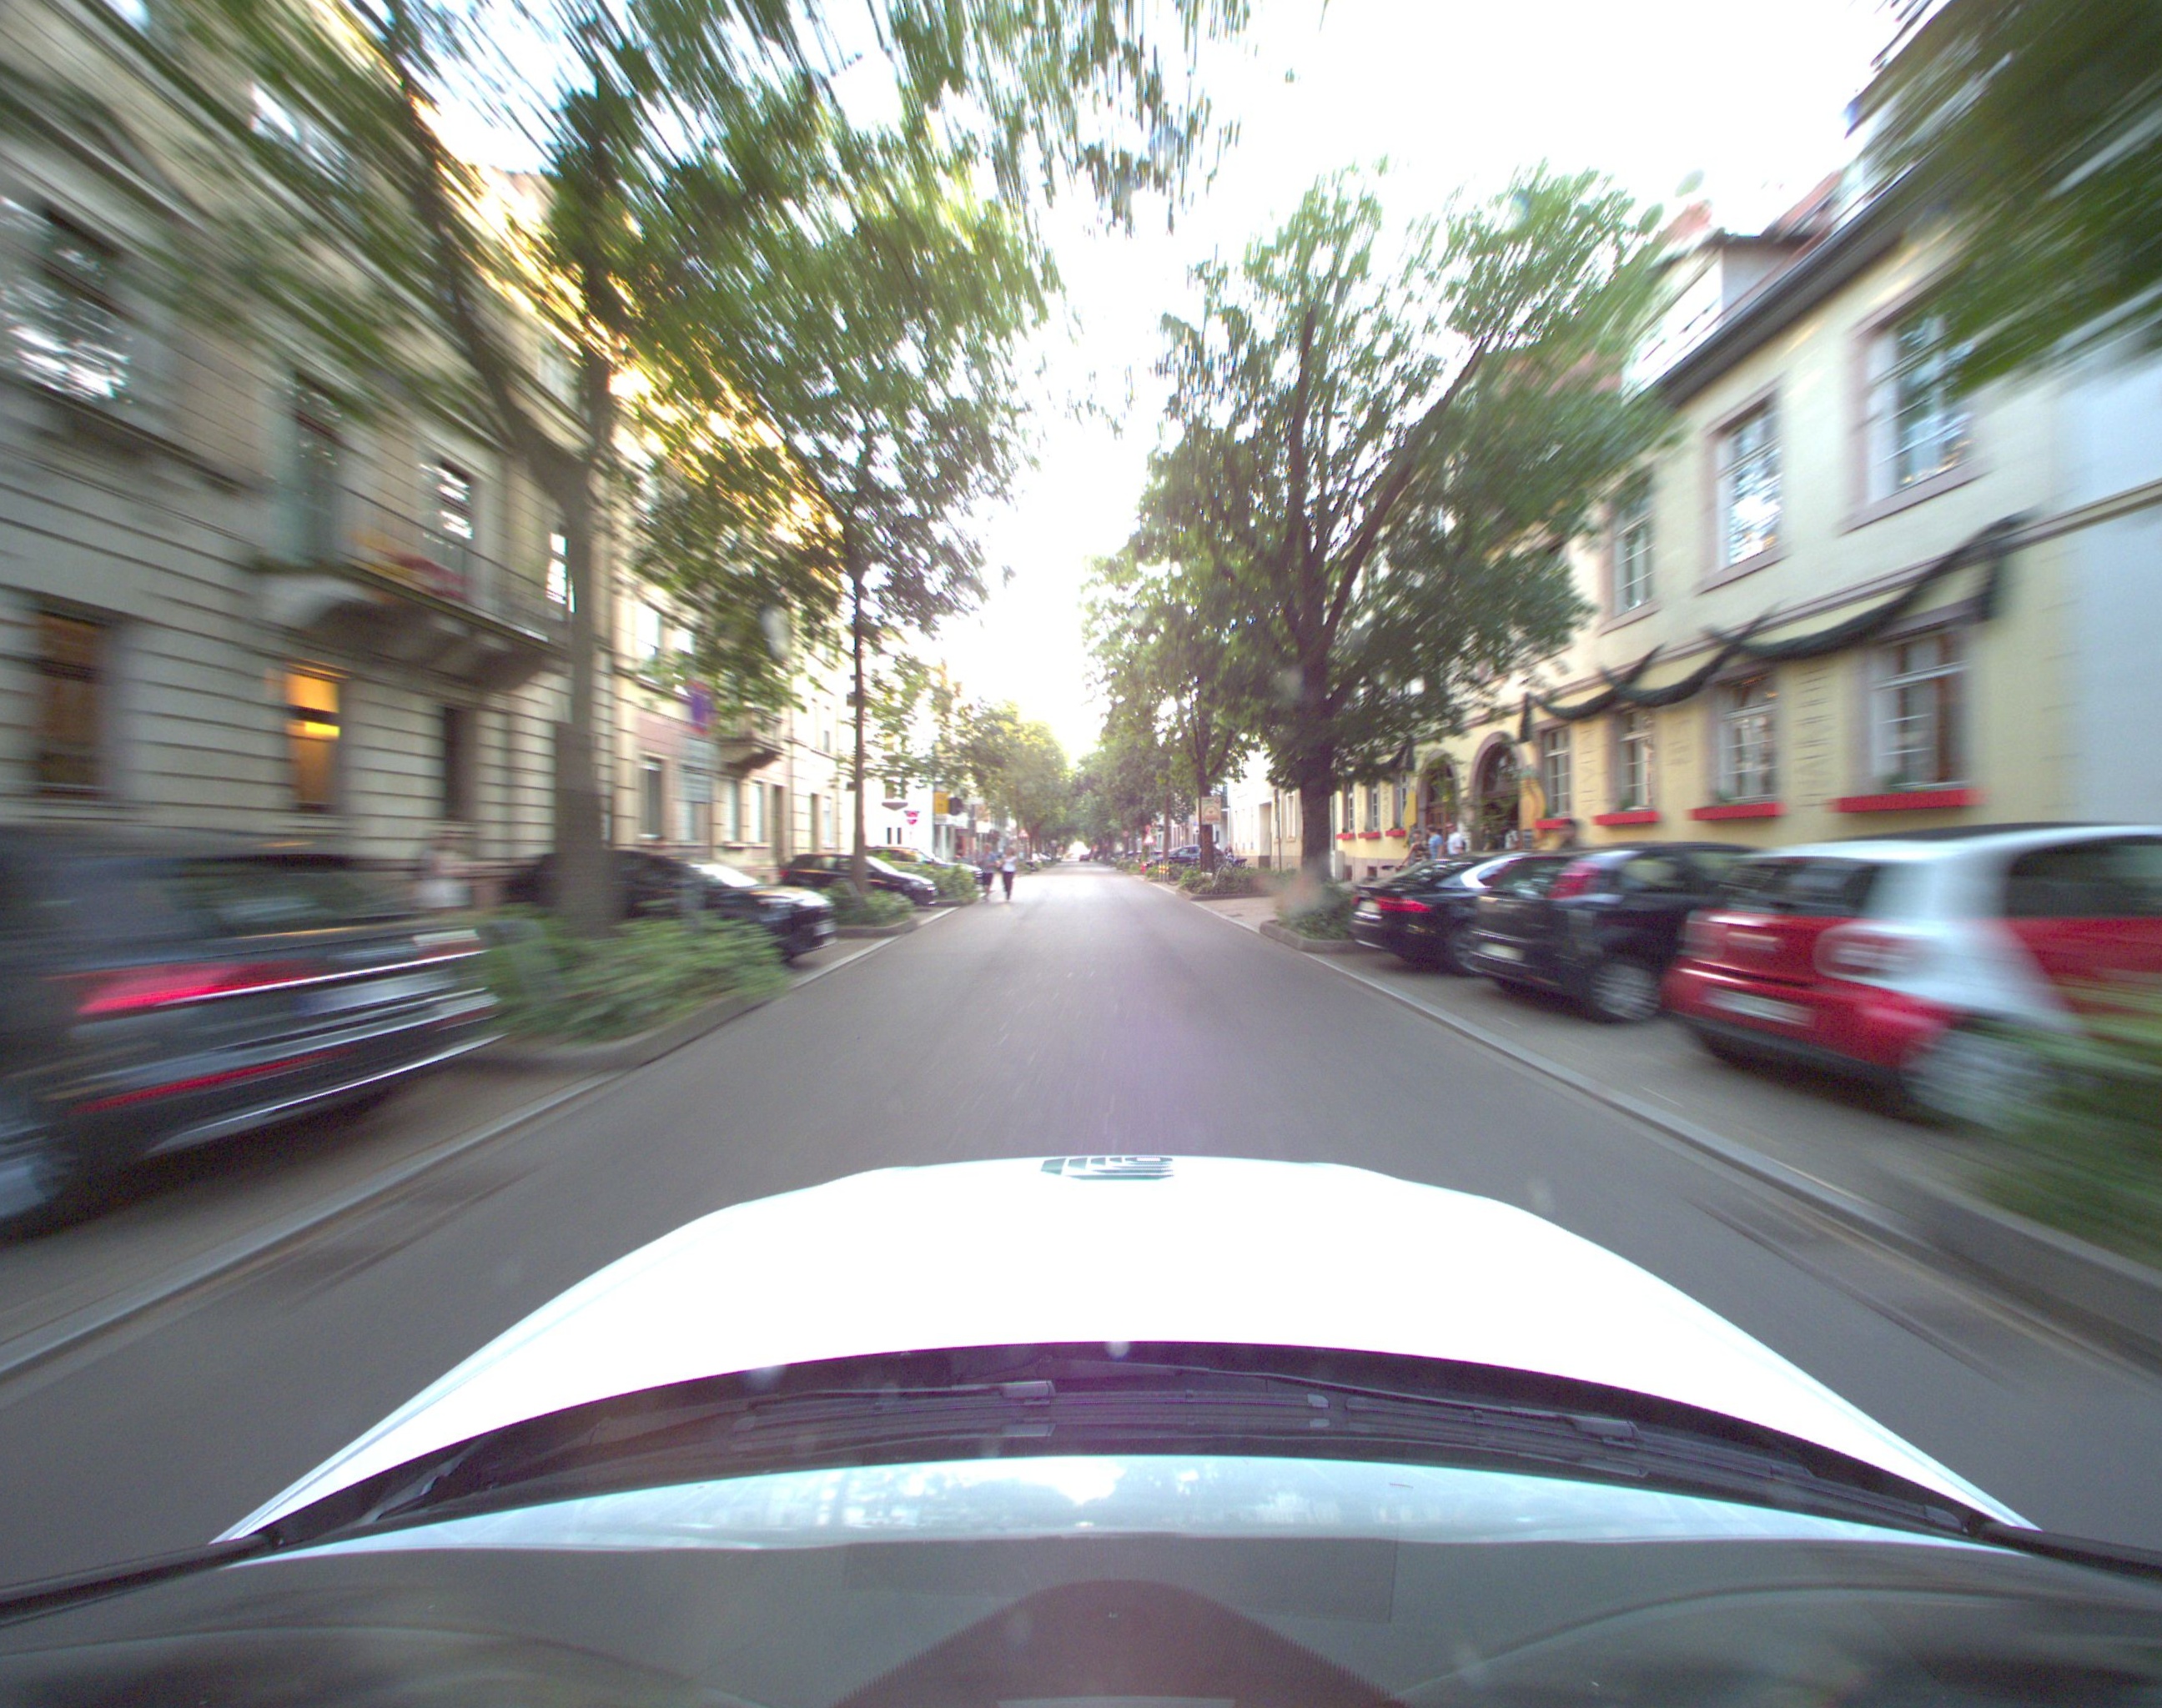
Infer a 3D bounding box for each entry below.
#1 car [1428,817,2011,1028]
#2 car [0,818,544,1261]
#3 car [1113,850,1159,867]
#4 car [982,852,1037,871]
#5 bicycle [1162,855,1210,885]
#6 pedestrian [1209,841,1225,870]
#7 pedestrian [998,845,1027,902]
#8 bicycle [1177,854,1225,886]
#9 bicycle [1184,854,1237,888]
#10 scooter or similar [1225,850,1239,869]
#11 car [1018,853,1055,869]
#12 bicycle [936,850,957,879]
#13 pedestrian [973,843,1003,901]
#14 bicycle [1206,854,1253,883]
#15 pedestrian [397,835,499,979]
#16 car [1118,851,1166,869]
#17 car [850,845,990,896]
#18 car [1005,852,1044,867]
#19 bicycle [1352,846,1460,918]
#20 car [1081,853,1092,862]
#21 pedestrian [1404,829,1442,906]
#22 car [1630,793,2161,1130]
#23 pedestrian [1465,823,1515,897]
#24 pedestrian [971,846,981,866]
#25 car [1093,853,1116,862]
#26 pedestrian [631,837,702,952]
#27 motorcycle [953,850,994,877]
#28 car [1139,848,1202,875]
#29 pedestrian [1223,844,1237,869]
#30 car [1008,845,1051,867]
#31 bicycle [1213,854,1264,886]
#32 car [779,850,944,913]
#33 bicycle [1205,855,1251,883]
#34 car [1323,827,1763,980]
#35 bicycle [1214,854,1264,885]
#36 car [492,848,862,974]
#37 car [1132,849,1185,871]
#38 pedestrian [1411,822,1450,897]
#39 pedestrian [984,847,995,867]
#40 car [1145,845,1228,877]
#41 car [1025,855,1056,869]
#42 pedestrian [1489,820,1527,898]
[{"bbox_3d":[5.706,0.556,7.678,3.977,1.437,1.925,-4,0,-2],"label":"car"},{"bbox_3d":[-5.401,0.670,4.012,4.188,1.672,1.907,1,1,-1],"label":"car"},{"bbox_3d":[5.623,0.429,84.078,4.700,1.710,1.950,-1,1,1],"label":"car"},{"bbox_3d":[-5.490,0.566,63.187,4.115,1.486,1.928,0,0,-2],"label":"car"},{"bbox_3d":[4.363,0.659,33.869,1.838,1.135,0.742,-2,0,-11],"label":"bicycle"},{"bbox_3d":[8.309,0.079,49.754,0.694,1.737,0.667,-2,0,-32],"label":"pedestrian"},{"bbox_3d":[-2.079,0.580,24.741,0.792,1.670,0.831,-2,0,-1],"label":"pedestrian"},{"bbox_3d":[4.784,0.627,32.547,1.824,1.178,0.600,-2,0,-2],"label":"bicycle"},{"bbox_3d":[4.831,0.640,30.344,1.824,1.178,0.672,-2,0,-2],"label":"bicycle"},{"bbox_3d":[9.160,0.344,49.440,0.652,1.153,0.831,-2,0,0],"label":"scooter or similar"},{"bbox_3d":[-5.716,0.844,104.826,4.668,1.854,1.962,-3,-1,-1],"label":"car"},{"bbox_3d":[-5.159,0.407,31.219,0.521,1.059,1.860,2,-2,-2],"label":"bicycle"},{"bbox_3d":[-2.865,0.556,25.139,0.792,1.737,0.831,-2,0,-1],"label":"pedestrian"},{"bbox_3d":[6.214,0.585,34.148,1.794,1.143,0.667,-2,0,-10],"label":"bicycle"},{"bbox_3d":[-7.912,0.641,10.207,0.666,1.739,0.737,0,0,2],"label":"pedestrian"},{"bbox_3d":[5.229,0.512,70.169,3.868,1.439,1.845,-2,0,-4],"label":"car"},{"bbox_3d":[-5.491,0.533,28.205,4.411,1.651,1.873,1,1,0],"label":"car"},{"bbox_3d":[-5.832,0.559,84.112,3.857,1.486,1.757,0,0,1],"label":"car"},{"bbox_3d":[6.209,0.523,15.587,1.794,1.233,0.671,-4,0,-10],"label":"bicycle"},{"bbox_3d":[0.977,0.673,146.656,1.950,1.565,4.281,-2,0,0],"label":"car"},{"bbox_3d":[7.878,0.301,18.805,0.706,1.738,0.751,-2,1,19],"label":"pedestrian"},{"bbox_3d":[5.845,0.491,5.044,3.668,1.578,1.714,-4,0,0],"label":"car"},{"bbox_3d":[9.942,0.143,19.821,0.778,1.738,0.680,-3,1,-16],"label":"pedestrian"},{"bbox_3d":[-9.228,0.166,71.524,0.701,1.728,0.905,0,-1,0],"label":"pedestrian"},{"bbox_3d":[4.514,0.678,155.493,4.255,1.565,1.962,-3,-1,-1],"label":"car"},{"bbox_3d":[-6.449,0.618,12.695,0.730,1.739,0.672,0,0,6],"label":"pedestrian"},{"bbox_3d":[-6.259,0.543,47.324,2.215,1.481,0.854,0,1,-19],"label":"motorcycle"},{"bbox_3d":[5.304,0.428,48.789,3.475,1.452,1.898,-2,0,-3],"label":"car"},{"bbox_3d":[9.159,0.151,50.070,0.652,1.536,0.831,-2,0,0],"label":"pedestrian"},{"bbox_3d":[-5.799,0.254,92.390,4.668,2.478,1.999,-1,-1,-1],"label":"car"},{"bbox_3d":[6.029,0.611,31.272,1.792,1.128,0.662,-2,0,-7],"label":"bicycle"},{"bbox_3d":[-5.514,0.672,20.799,3.681,1.458,1.872,1,1,-1],"label":"car"},{"bbox_3d":[6.041,0.612,33.460,1.792,1.107,0.499,-2,0,-6],"label":"bicycle"},{"bbox_3d":[5.538,0.553,10.155,4.390,1.393,1.884,-4,0,-3],"label":"car"},{"bbox_3d":[6.216,0.593,32.092,1.794,1.143,0.649,-2,0,-9],"label":"bicycle"},{"bbox_3d":[-5.152,0.695,10.852,3.934,1.532,1.906,0,0,-1],"label":"car"},{"bbox_3d":[5.399,0.408,57.296,3.475,1.452,1.898,-2,0,-3],"label":"car"},{"bbox_3d":[8.438,0.127,19.659,0.613,1.738,0.623,-3,1,-1],"label":"pedestrian"},{"bbox_3d":[-8.293,0.257,73.888,0.697,1.757,0.744,-1,-1,23],"label":"pedestrian"},{"bbox_3d":[5.853,0.369,45.503,4.410,1.656,1.900,-1,0,1],"label":"car"},{"bbox_3d":[-5.605,1.087,112.548,4.190,1.635,1.962,-3,-1,-1],"label":"car"},{"bbox_3d":[9.901,0.109,18.900,0.718,1.738,0.749,-2,1,26],"label":"pedestrian"}]
